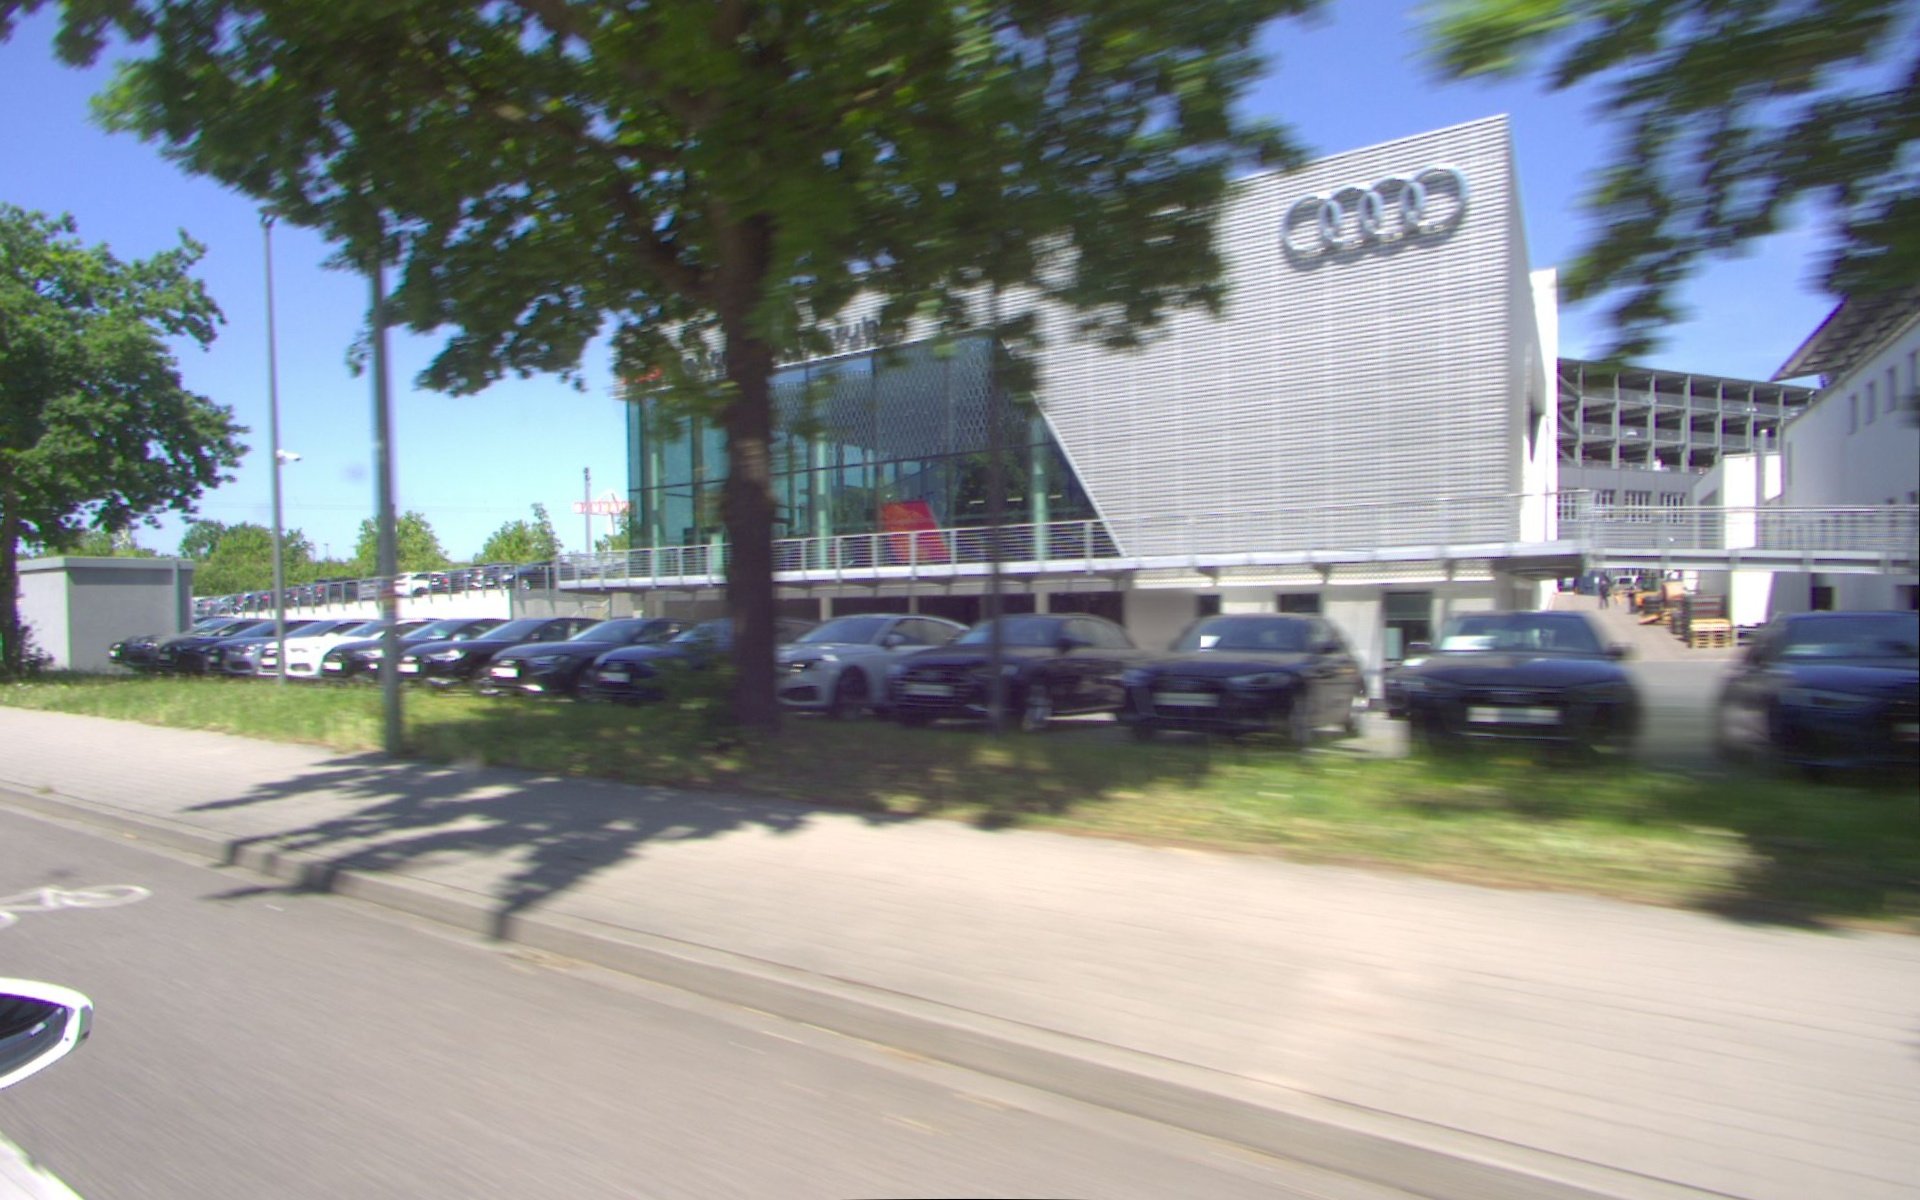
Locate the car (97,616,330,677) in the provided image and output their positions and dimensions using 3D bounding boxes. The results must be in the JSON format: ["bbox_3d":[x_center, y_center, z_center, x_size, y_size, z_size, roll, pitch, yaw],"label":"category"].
[{"bbox_3d":[-18.394,1.200,24.863,1.890,1.358,4.217,-1,-4,32],"label":"car"}]

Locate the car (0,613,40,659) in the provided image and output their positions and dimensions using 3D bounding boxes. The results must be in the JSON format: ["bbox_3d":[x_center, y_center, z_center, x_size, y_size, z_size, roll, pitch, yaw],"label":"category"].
[{"bbox_3d":[-37.025,1.253,37.032,1.769,1.643,3.990,0,-5,28],"label":"car"}]

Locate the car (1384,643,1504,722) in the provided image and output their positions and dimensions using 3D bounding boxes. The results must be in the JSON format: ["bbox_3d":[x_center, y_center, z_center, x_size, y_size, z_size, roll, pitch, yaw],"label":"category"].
[{"bbox_3d":[9.463,1.586,19.427,1.670,1.358,4.064,-2,-5,32],"label":"car"}]

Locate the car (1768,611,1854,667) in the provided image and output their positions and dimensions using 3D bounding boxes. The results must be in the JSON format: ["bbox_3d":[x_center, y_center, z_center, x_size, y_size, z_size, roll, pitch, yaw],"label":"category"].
[{"bbox_3d":[28.342,1.308,33.451,1.617,1.739,3.893,-1,-2,32],"label":"car"}]

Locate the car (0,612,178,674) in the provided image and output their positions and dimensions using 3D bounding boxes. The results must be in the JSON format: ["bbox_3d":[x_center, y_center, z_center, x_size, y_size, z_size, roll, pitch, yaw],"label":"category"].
[{"bbox_3d":[-26.189,1.327,29.922,1.769,1.637,3.990,0,-5,28],"label":"car"}]

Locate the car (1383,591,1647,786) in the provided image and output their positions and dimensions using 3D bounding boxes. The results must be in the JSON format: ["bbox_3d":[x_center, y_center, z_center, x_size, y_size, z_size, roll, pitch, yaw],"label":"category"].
[{"bbox_3d":[5.400,0.799,9.644,1.799,1.424,4.320,-1,-4,32],"label":"car"}]

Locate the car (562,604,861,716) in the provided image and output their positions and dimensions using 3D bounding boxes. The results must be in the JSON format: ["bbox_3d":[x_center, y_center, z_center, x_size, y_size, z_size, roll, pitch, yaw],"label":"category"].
[{"bbox_3d":[-3.540,0.909,15.026,1.890,1.424,4.217,-1,-4,32],"label":"car"}]

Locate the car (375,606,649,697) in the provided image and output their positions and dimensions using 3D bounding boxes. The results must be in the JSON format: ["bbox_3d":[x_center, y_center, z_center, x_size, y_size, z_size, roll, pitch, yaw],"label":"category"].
[{"bbox_3d":[-7.801,0.983,17.838,1.753,1.397,4.128,-1,-5,32],"label":"car"}]

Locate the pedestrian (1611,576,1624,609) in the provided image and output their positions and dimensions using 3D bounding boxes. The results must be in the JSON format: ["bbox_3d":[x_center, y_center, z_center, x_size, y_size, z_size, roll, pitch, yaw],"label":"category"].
[{"bbox_3d":[41.573,-0.460,63.319,0.686,2.039,0.768,0,-1,34],"label":"pedestrian"}]

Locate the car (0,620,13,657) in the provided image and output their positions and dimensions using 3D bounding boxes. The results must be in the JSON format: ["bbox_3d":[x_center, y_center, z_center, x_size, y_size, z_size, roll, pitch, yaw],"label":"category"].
[{"bbox_3d":[-39.384,1.371,38.449,1.769,1.439,3.990,0,-5,28],"label":"car"}]

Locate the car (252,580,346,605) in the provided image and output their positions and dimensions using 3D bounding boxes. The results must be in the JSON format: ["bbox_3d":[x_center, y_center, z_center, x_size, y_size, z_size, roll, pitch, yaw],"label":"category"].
[{"bbox_3d":[-36.527,-0.402,55.424,1.769,1.329,3.983,-1,0,28],"label":"car"}]

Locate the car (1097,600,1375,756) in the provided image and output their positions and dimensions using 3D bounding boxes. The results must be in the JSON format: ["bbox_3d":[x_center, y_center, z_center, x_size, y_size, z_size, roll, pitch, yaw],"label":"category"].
[{"bbox_3d":[3.244,0.835,11.113,1.852,1.372,4.217,-1,-4,32],"label":"car"}]

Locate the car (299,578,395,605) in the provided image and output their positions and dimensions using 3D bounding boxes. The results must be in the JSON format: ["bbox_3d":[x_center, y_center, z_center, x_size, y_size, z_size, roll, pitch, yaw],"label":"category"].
[{"bbox_3d":[-32.021,-0.418,52.408,1.769,1.329,3.984,-1,0,28],"label":"car"}]

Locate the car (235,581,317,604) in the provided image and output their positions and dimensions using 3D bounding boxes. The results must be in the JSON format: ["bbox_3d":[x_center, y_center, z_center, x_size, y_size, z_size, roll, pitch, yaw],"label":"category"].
[{"bbox_3d":[-38.731,-0.400,56.744,1.586,1.256,3.519,-1,0,30],"label":"car"}]

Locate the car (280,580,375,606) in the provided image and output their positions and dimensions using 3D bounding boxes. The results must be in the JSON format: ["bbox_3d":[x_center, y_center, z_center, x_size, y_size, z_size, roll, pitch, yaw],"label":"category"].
[{"bbox_3d":[-34.078,-0.366,54.032,1.769,1.329,3.984,-1,0,28],"label":"car"}]

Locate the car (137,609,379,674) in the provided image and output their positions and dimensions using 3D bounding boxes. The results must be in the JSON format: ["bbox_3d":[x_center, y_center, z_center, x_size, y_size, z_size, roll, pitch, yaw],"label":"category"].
[{"bbox_3d":[-16.306,1.031,23.489,1.890,1.358,4.217,-1,-4,32],"label":"car"}]

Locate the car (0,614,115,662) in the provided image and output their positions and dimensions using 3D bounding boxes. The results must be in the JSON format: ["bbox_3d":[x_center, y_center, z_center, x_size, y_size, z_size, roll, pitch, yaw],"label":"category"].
[{"bbox_3d":[-30.520,1.241,32.739,1.769,1.393,3.990,0,-5,28],"label":"car"}]

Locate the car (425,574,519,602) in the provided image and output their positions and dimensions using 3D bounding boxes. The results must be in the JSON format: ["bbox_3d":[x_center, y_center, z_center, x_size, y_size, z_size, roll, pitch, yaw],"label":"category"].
[{"bbox_3d":[-22.857,-0.526,46.991,1.658,1.145,3.723,-1,-2,28],"label":"car"}]

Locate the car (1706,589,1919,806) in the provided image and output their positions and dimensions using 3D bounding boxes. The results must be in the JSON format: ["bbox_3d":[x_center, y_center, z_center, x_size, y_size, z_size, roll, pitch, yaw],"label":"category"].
[{"bbox_3d":[7.547,0.774,8.293,1.807,1.409,4.445,-1,-4,32],"label":"car"}]

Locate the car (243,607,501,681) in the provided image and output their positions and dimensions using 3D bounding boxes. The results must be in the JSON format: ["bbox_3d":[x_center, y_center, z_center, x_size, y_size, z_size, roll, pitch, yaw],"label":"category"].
[{"bbox_3d":[-12.072,0.966,20.843,1.890,1.358,4.217,-1,-4,32],"label":"car"}]

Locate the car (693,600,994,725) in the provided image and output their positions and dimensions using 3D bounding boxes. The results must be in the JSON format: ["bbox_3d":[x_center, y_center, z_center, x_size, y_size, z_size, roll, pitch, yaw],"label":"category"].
[{"bbox_3d":[-1.400,0.865,13.758,1.890,1.424,4.217,-1,-4,32],"label":"car"}]

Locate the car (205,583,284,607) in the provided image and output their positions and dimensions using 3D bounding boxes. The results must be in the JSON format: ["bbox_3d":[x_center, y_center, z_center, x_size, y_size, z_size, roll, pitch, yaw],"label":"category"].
[{"bbox_3d":[-42.326,-0.262,59.284,1.519,1.255,3.520,-1,-2,30],"label":"car"}]

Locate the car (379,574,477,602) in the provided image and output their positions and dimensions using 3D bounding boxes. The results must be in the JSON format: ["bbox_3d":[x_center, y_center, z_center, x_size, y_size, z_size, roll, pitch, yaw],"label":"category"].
[{"bbox_3d":[-25.585,-0.546,48.316,1.691,1.227,3.937,-1,-1,28],"label":"car"}]

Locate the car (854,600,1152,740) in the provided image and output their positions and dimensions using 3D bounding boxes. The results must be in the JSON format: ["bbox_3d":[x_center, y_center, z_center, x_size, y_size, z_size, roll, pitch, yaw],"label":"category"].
[{"bbox_3d":[0.728,0.865,12.521,1.890,1.424,4.217,-1,-4,32],"label":"car"}]

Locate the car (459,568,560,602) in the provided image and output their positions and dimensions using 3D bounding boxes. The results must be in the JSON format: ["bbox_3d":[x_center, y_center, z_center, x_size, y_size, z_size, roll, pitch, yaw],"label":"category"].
[{"bbox_3d":[-20.501,-0.649,45.717,1.769,1.328,3.986,-1,-2,28],"label":"car"}]

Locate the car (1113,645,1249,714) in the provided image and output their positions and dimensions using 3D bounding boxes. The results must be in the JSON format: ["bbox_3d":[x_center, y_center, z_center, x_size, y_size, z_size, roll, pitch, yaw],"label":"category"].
[{"bbox_3d":[5.087,1.781,22.615,1.708,1.381,4.217,-1,-4,32],"label":"car"}]

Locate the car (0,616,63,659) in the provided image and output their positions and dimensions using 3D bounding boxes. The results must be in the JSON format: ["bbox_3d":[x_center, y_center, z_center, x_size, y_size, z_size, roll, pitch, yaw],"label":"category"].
[{"bbox_3d":[-34.844,1.290,35.578,1.769,1.456,3.990,0,-5,28],"label":"car"}]

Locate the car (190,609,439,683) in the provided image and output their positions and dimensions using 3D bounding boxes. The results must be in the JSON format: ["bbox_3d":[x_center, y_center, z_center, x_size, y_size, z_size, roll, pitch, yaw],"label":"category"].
[{"bbox_3d":[-14.190,1.076,22.264,1.890,1.470,4.217,-1,-4,32],"label":"car"}]

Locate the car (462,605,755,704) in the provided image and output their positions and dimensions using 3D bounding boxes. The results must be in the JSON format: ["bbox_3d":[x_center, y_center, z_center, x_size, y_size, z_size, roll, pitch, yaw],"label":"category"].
[{"bbox_3d":[-5.553,0.916,16.362,1.960,1.386,4.217,-1,-4,32],"label":"car"}]

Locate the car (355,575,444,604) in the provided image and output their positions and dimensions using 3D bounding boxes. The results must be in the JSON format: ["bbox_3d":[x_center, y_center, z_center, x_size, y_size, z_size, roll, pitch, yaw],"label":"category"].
[{"bbox_3d":[-27.802,-0.504,49.777,1.650,1.255,3.522,-1,-2,28],"label":"car"}]

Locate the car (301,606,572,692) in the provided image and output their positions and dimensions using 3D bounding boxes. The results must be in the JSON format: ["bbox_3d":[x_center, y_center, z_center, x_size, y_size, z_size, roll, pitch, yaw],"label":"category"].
[{"bbox_3d":[-9.929,1.013,19.344,1.890,1.402,4.219,-1,-5,32],"label":"car"}]

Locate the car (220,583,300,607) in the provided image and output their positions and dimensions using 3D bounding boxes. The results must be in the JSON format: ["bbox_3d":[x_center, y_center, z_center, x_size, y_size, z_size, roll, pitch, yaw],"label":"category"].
[{"bbox_3d":[-40.667,-0.265,58.241,1.586,1.255,3.520,-1,-2,30],"label":"car"}]

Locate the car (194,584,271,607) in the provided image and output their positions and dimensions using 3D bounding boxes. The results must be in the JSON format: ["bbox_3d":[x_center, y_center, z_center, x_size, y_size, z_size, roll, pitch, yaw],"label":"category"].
[{"bbox_3d":[-44.661,-0.271,61.500,1.519,1.255,3.519,-1,-2,31],"label":"car"}]

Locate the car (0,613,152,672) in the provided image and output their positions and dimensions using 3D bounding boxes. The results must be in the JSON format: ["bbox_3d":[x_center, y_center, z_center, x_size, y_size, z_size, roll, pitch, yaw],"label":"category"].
[{"bbox_3d":[-27.958,1.355,31.160,1.769,1.600,3.920,0,-5,28],"label":"car"}]

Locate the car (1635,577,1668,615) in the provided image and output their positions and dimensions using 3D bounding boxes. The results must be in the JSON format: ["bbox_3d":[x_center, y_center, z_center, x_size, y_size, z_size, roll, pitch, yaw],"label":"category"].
[{"bbox_3d":[40.303,-0.188,58.414,1.551,2.039,3.652,0,-2,34],"label":"car"}]

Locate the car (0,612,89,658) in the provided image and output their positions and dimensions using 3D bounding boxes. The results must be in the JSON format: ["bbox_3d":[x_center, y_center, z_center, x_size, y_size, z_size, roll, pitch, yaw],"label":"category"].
[{"bbox_3d":[-32.775,1.176,34.317,1.769,1.456,3.990,0,-5,28],"label":"car"}]
